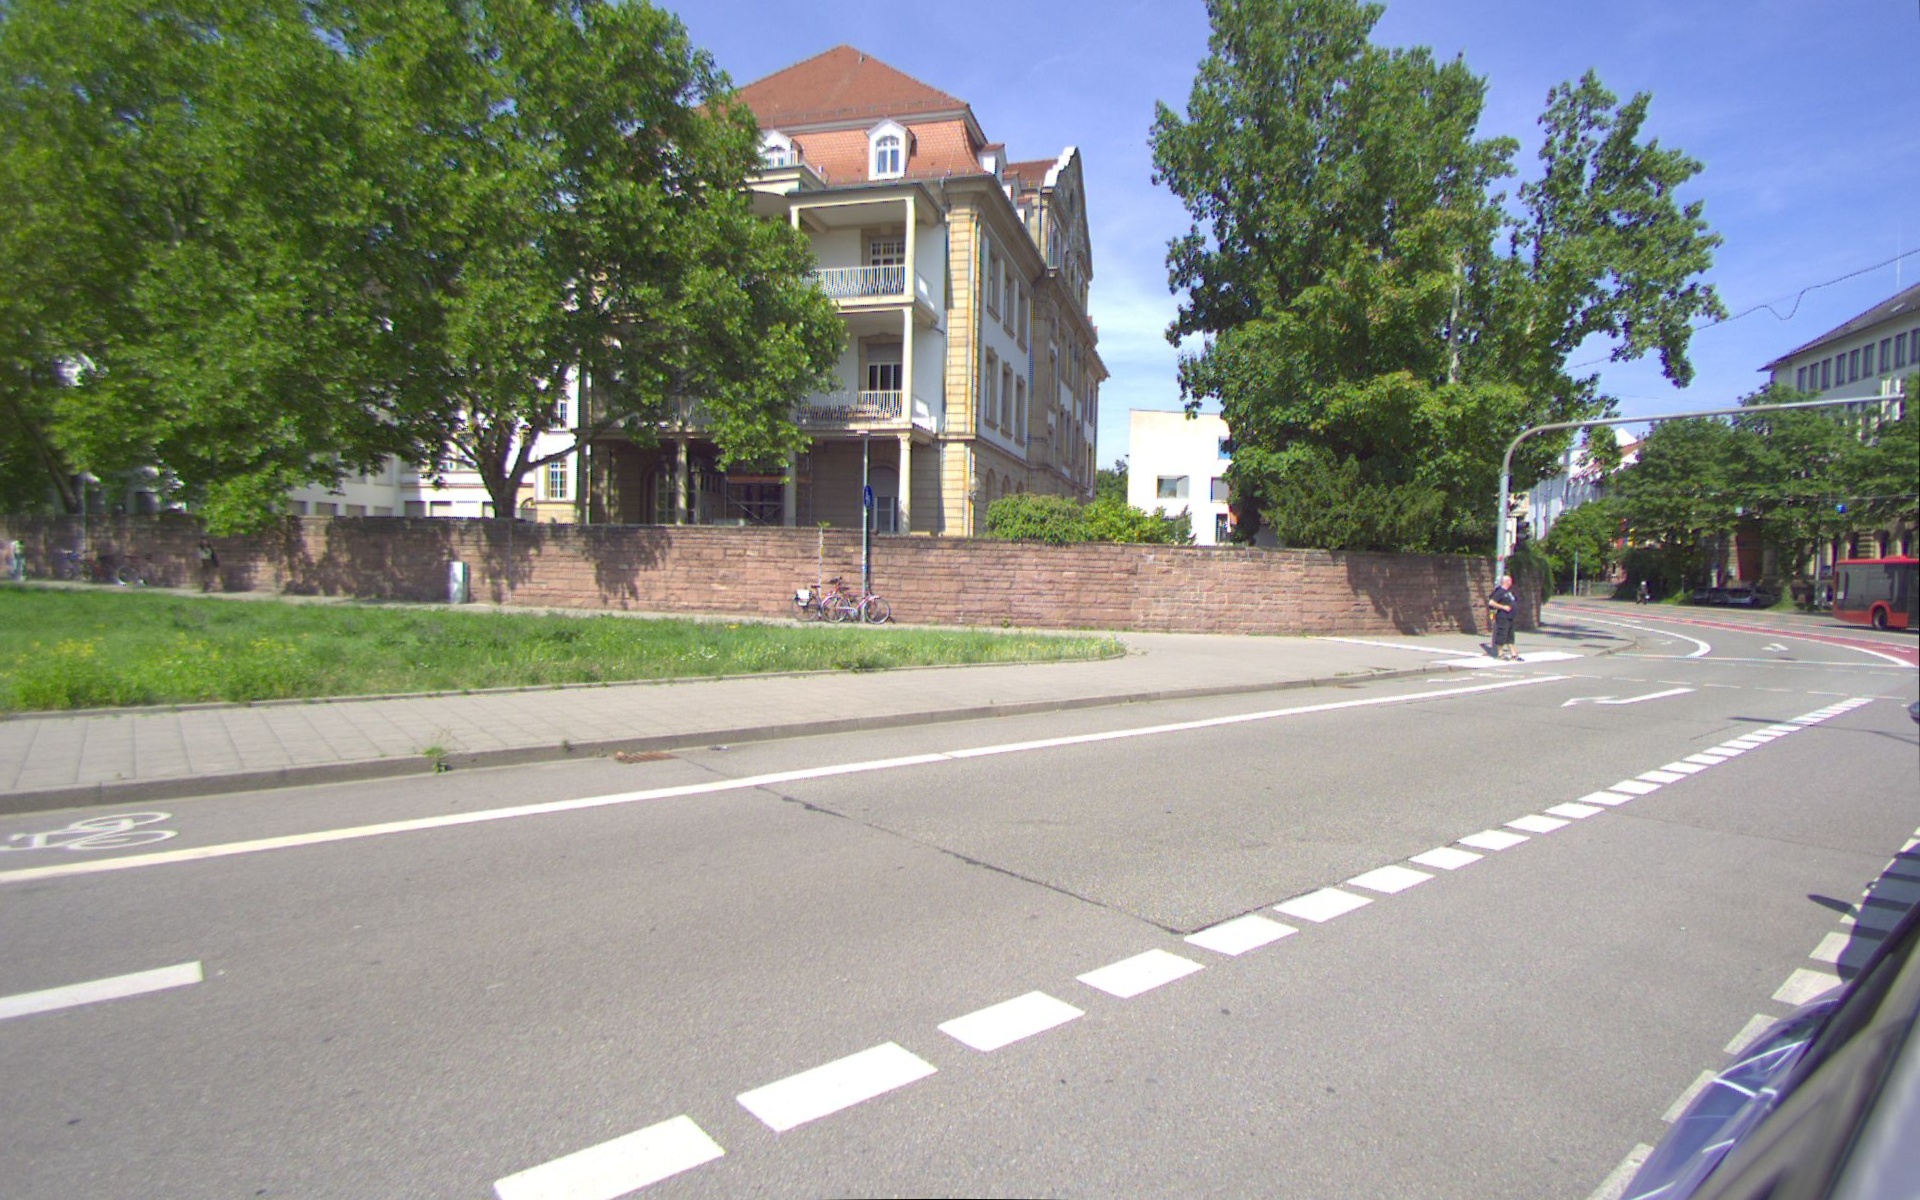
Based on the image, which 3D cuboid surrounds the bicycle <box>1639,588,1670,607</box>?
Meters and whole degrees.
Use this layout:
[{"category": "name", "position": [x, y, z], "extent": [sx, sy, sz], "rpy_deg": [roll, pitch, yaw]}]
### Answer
[{"category": "bicycle", "position": [52.259, -0.223, 76.174], "extent": [0.819, 1.420, 3.452], "rpy_deg": [0, 0, 16]}]

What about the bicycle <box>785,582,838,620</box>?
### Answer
[{"category": "bicycle", "position": [-3.609, 0.022, 24.677], "extent": [1.202, 0.894, 0.395], "rpy_deg": [1, 2, -21]}]

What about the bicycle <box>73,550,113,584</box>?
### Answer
[{"category": "bicycle", "position": [-28.811, -1.100, 33.617], "extent": [1.432, 1.046, 0.444], "rpy_deg": [3, 2, 24]}]

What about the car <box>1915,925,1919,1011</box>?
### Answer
[{"category": "car", "position": [5.321, 0.606, 3.972], "extent": [4.077, 1.605, 1.688], "rpy_deg": [0, 3, -39]}]

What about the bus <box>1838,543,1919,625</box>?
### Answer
[{"category": "bus", "position": [38.224, -0.603, 37.690], "extent": [3.087, 3.133, 12.358], "rpy_deg": [0, 1, 14]}]

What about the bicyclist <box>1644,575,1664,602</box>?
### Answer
[{"category": "bicyclist", "position": [52.277, -0.876, 76.254], "extent": [0.847, 2.039, 1.230], "rpy_deg": [0, 0, 16]}]

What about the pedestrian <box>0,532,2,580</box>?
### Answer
[{"category": "pedestrian", "position": [-32.446, -1.467, 33.848], "extent": [0.700, 1.597, 0.516], "rpy_deg": [3, 3, 41]}]

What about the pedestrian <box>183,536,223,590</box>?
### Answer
[{"category": "pedestrian", "position": [-22.601, -1.105, 30.223], "extent": [0.900, 1.567, 0.501], "rpy_deg": [2, 2, 13]}]

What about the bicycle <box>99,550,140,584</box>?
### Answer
[{"category": "bicycle", "position": [-27.412, -1.086, 32.993], "extent": [1.432, 1.046, 0.444], "rpy_deg": [3, 2, 24]}]

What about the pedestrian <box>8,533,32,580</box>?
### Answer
[{"category": "pedestrian", "position": [-31.977, -1.477, 34.438], "extent": [0.700, 1.597, 0.516], "rpy_deg": [3, 3, 41]}]

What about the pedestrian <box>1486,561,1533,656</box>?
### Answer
[{"category": "pedestrian", "position": [12.118, 0.171, 22.306], "extent": [0.790, 2.038, 0.608], "rpy_deg": [2, 1, 35]}]

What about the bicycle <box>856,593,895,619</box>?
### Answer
[{"category": "bicycle", "position": [-2.092, 0.148, 25.048], "extent": [0.929, 0.609, 0.275], "rpy_deg": [2, 2, -2]}]

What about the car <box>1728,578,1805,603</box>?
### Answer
[{"category": "car", "position": [59.429, -0.722, 74.637], "extent": [3.941, 1.682, 1.993], "rpy_deg": [0, 3, 14]}]
